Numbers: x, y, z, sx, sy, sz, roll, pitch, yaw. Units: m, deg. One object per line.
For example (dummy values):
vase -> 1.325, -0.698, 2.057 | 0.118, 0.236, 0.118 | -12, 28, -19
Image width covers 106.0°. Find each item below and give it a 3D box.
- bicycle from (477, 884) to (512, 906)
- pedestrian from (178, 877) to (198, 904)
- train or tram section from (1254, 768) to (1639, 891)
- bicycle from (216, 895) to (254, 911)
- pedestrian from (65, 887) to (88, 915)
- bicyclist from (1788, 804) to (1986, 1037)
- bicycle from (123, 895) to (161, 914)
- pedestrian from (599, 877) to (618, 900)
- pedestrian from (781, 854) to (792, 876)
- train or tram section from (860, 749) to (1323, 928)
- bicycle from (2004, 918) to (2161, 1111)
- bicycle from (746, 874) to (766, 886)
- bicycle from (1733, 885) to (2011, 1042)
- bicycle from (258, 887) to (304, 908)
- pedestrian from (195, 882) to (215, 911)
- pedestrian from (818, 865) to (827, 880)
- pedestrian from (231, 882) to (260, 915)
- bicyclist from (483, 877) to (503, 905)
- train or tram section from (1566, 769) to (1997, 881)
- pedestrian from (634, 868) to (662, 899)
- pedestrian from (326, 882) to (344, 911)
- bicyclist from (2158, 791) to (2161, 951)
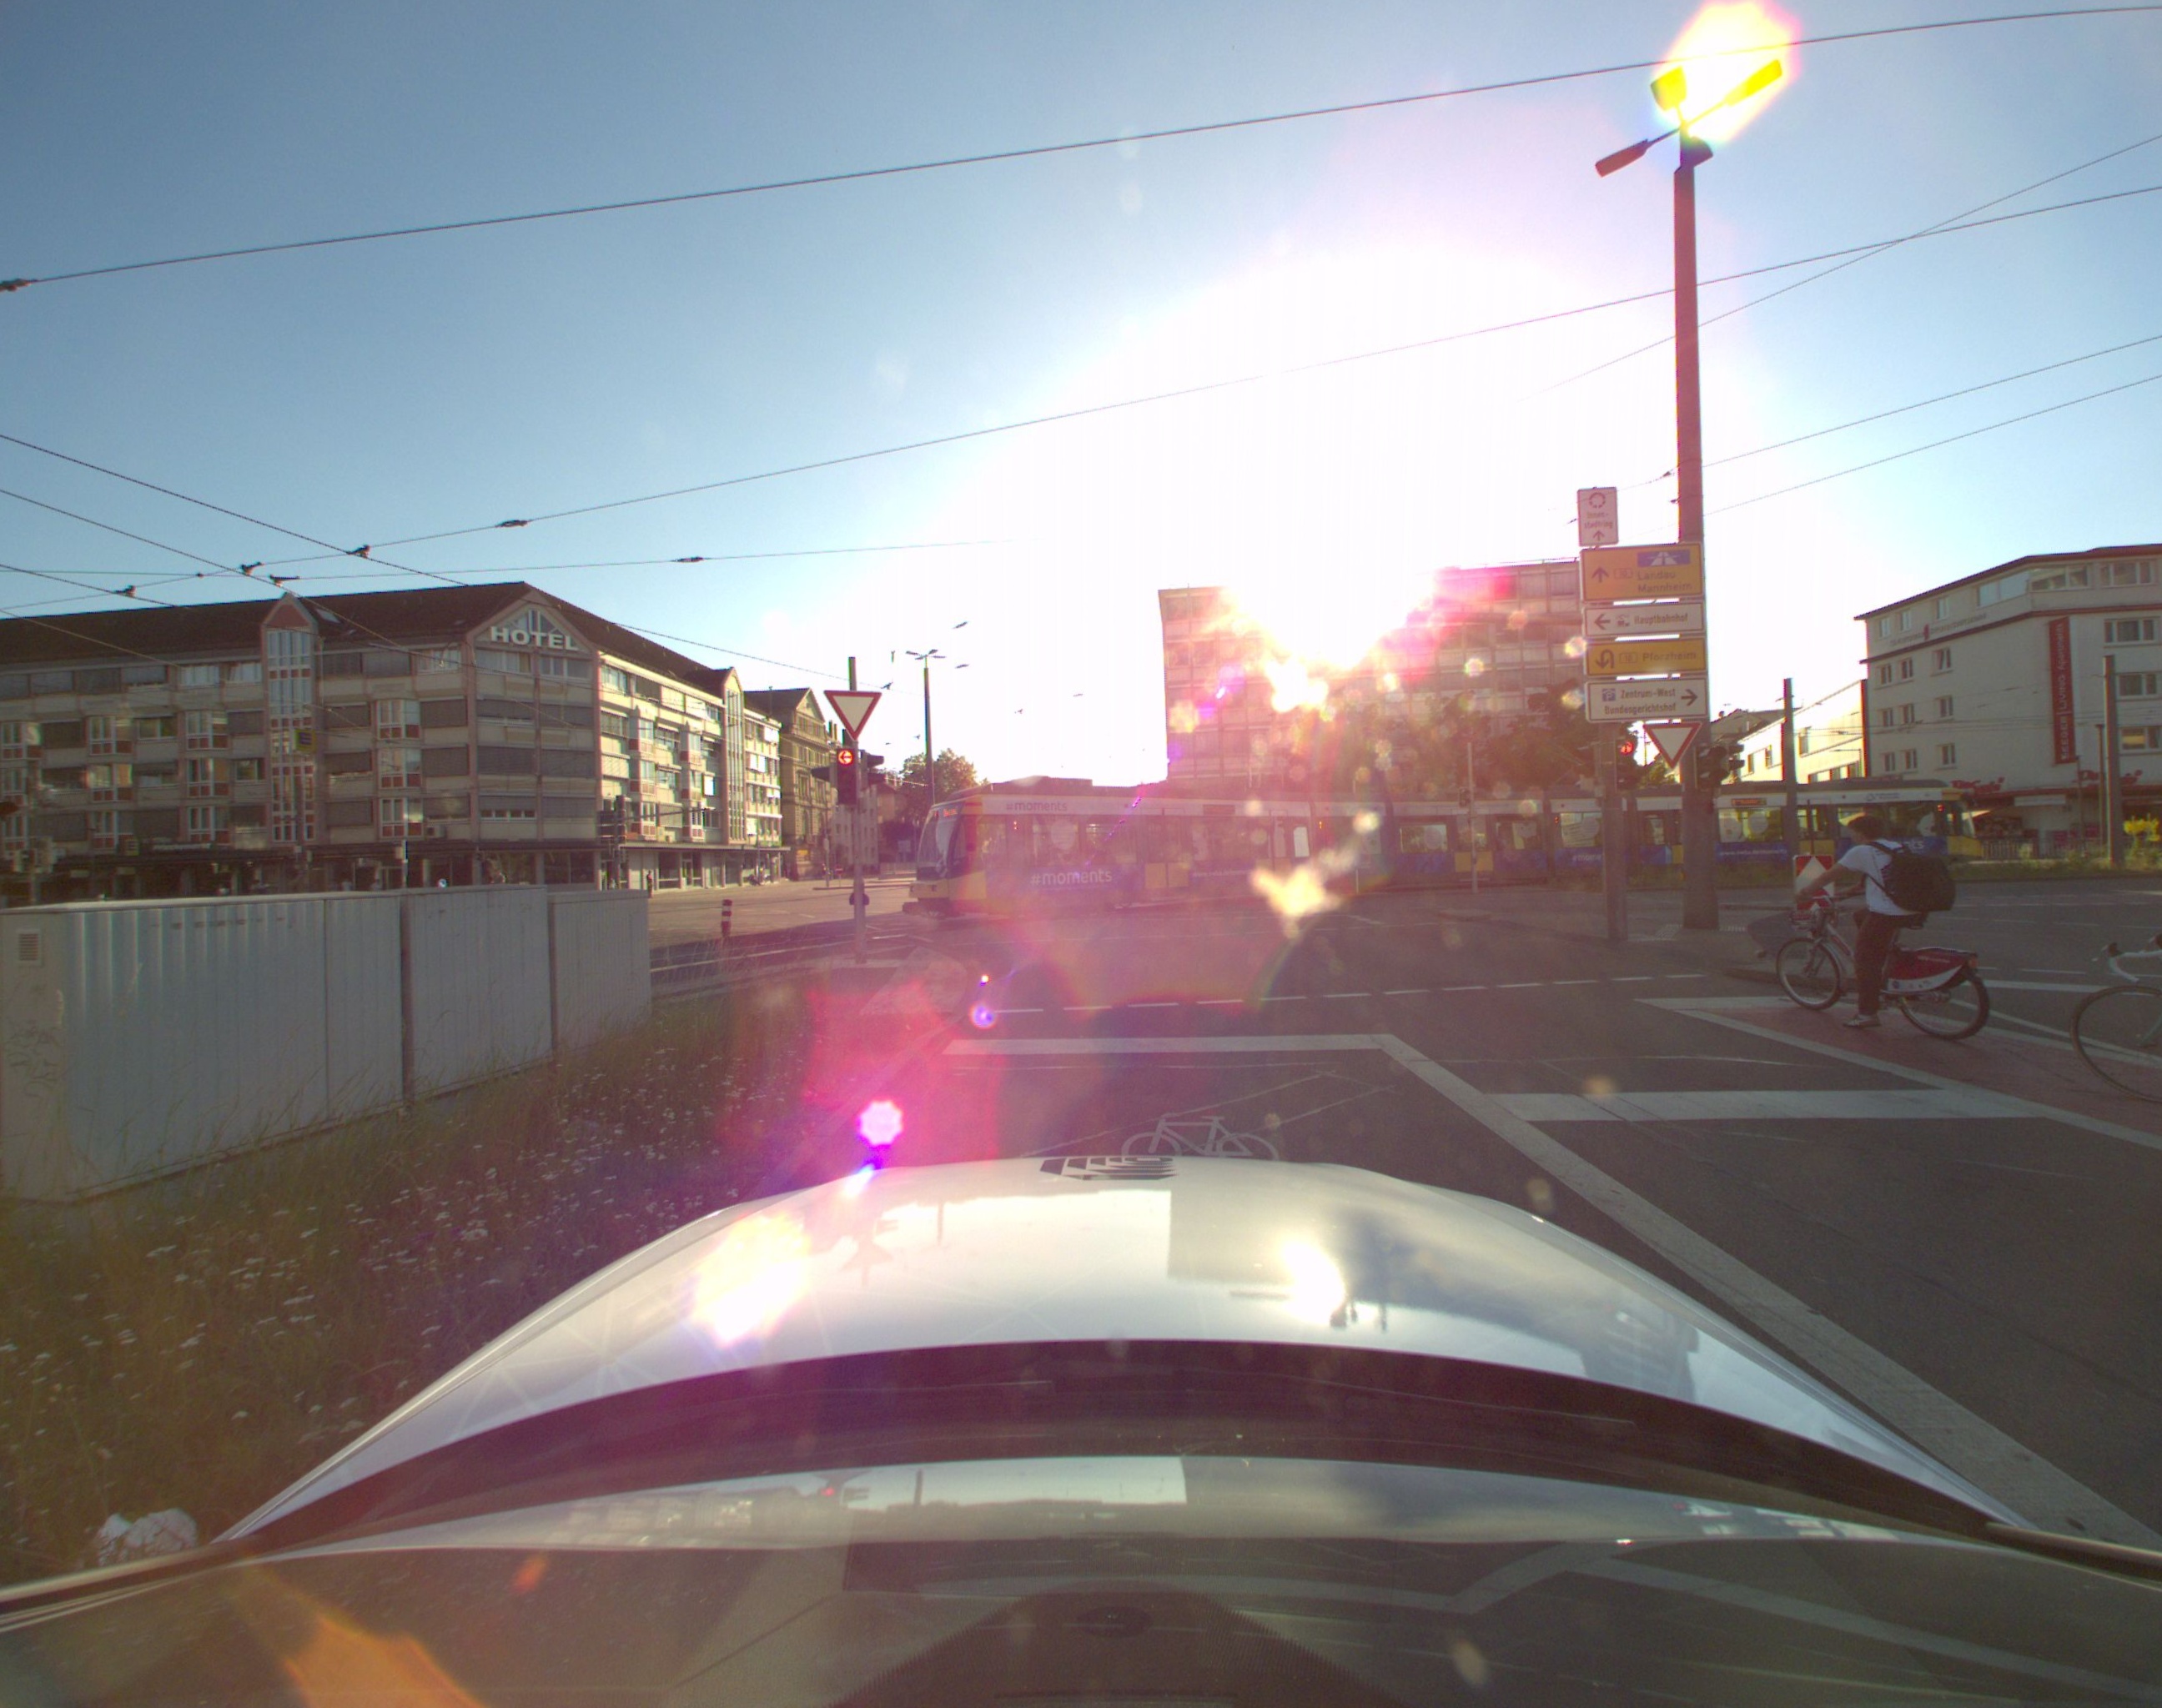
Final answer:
bicycle -> -34.865, 2.430, 48.421 | 0.635, 1.145, 1.773 | 0, 2, 6
pedestrian -> -56.869, 2.303, 51.878 | 0.596, 1.635, 0.614 | -7, -2, 20
train or tram section -> 12.902, -0.860, 28.805 | 12.958, 3.833, 3.697 | -1, 0, -15
bicycle -> -52.461, 3.060, 50.505 | 2.060, 0.917, 0.502 | -2, -1, 7
pedestrian -> -64.694, 3.017, 52.438 | 0.671, 1.778, 0.825 | -1, -1, 32
bicyclist -> 6.590, 0.505, 6.723 | 0.540, 1.768, 1.059 | 0, -1, -3
bicycle -> -60.184, 3.231, 52.211 | 0.481, 1.119, 1.650 | 0, -1, 2
pedestrian -> -29.593, 2.152, 51.060 | 0.703, 1.453, 0.855 | 0, -1, -3
pedestrian -> -31.317, 1.173, 86.507 | 0.926, 2.398, 0.958 | 0, -1, -9
train or tram section -> 0.995, -0.426, 22.912 | 13.419, 3.833, 3.674 | -2, -1, -36
bicycle -> 6.189, 0.904, 4.350 | 0.540, 1.001, 1.692 | 0, -1, -3
bicycle -> -29.657, 2.361, 74.396 | 0.447, 1.071, 2.102 | -1, -1, 19
bicycle -> 6.570, 0.840, 6.919 | 0.540, 1.101, 1.807 | 0, -1, -3
bicycle -> -49.463, 2.690, 50.332 | 2.312, 1.227, 0.731 | -2, -1, 7
pedestrian -> -56.206, 2.733, 52.253 | 0.598, 1.852, 0.613 | -1, -1, 12
pedestrian -> -28.301, 2.040, 89.175 | 0.693, 1.695, 0.724 | 0, -1, 1
pedestrian -> -42.983, 2.274, 41.885 | 0.680, 1.660, 0.780 | 0, -1, -4
bicyclist -> -34.879, 2.208, 48.276 | 0.636, 1.596, 0.659 | 0, 2, 5
train or tram section -> 25.633, -1.002, 30.367 | 12.895, 3.834, 3.715 | 0, -1, 0
pedestrian -> -28.268, 1.927, 53.150 | 1.191, 1.881, 0.857 | 0, 10, -3
pedestrian -> -44.665, 2.511, 48.751 | 0.625, 1.694, 0.859 | 0, -1, -30
bicyclist -> 6.167, 0.529, 4.026 | 0.612, 1.746, 0.791 | 0, -1, -3
